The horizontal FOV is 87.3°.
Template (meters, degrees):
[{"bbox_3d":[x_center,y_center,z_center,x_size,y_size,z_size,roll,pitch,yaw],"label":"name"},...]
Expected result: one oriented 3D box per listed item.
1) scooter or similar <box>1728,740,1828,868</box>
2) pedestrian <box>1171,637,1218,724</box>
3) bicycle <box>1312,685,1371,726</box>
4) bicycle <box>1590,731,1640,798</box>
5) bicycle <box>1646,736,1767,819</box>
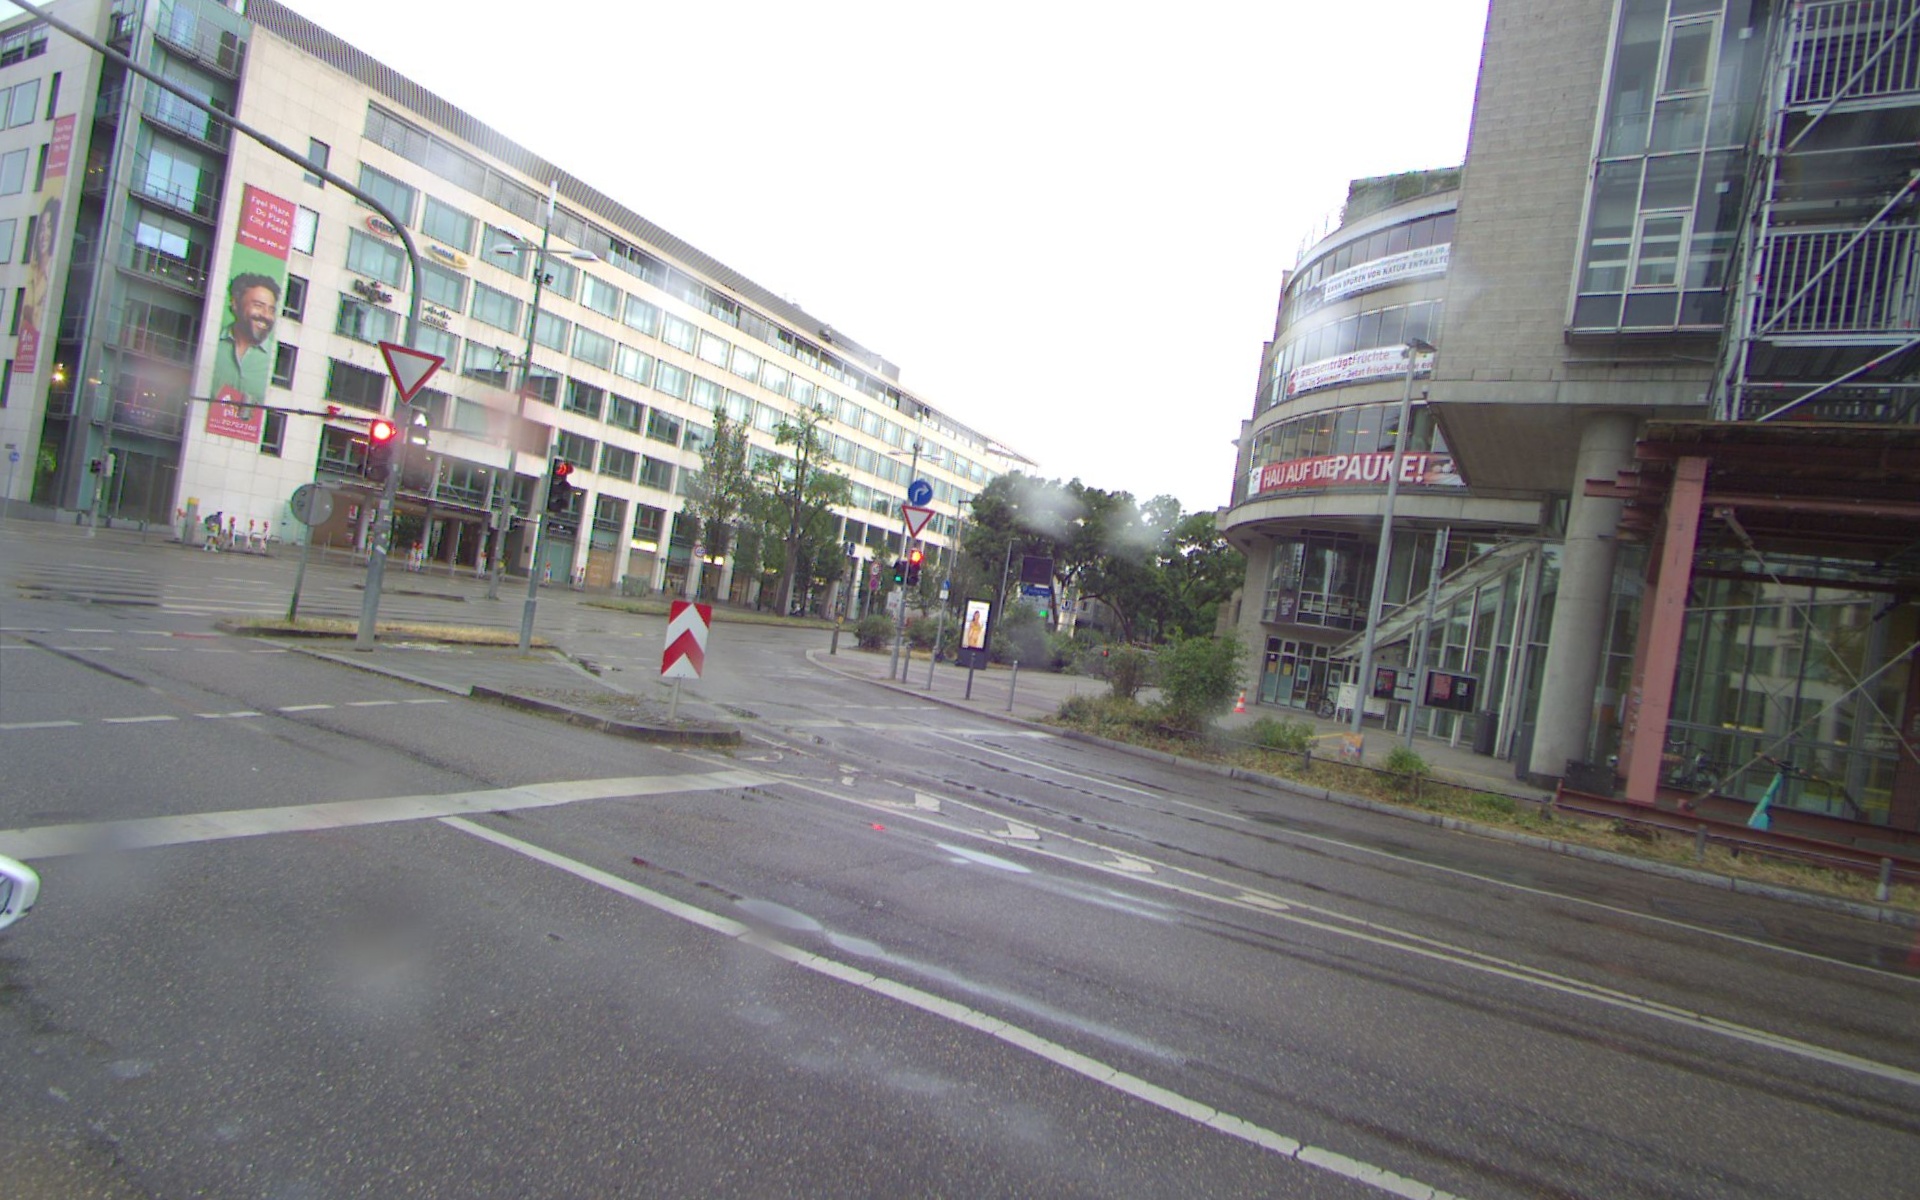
[{"bbox_3d":[9.237,2.258,11.415,0.577,1.208,1.780,7,-1,34],"label":"scooter or similar"},{"bbox_3d":[5.170,1.773,22.206,0.776,1.796,0.781,7,-1,13],"label":"pedestrian"},{"bbox_3d":[13.470,3.720,35.528,1.753,1.208,0.586,6,-1,29],"label":"bicycle"},{"bbox_3d":[13.590,3.396,20.906,0.576,1.208,1.614,7,-2,27],"label":"bicycle"},{"bbox_3d":[13.501,3.208,18.226,1.584,1.208,0.587,7,-1,6],"label":"bicycle"}]
